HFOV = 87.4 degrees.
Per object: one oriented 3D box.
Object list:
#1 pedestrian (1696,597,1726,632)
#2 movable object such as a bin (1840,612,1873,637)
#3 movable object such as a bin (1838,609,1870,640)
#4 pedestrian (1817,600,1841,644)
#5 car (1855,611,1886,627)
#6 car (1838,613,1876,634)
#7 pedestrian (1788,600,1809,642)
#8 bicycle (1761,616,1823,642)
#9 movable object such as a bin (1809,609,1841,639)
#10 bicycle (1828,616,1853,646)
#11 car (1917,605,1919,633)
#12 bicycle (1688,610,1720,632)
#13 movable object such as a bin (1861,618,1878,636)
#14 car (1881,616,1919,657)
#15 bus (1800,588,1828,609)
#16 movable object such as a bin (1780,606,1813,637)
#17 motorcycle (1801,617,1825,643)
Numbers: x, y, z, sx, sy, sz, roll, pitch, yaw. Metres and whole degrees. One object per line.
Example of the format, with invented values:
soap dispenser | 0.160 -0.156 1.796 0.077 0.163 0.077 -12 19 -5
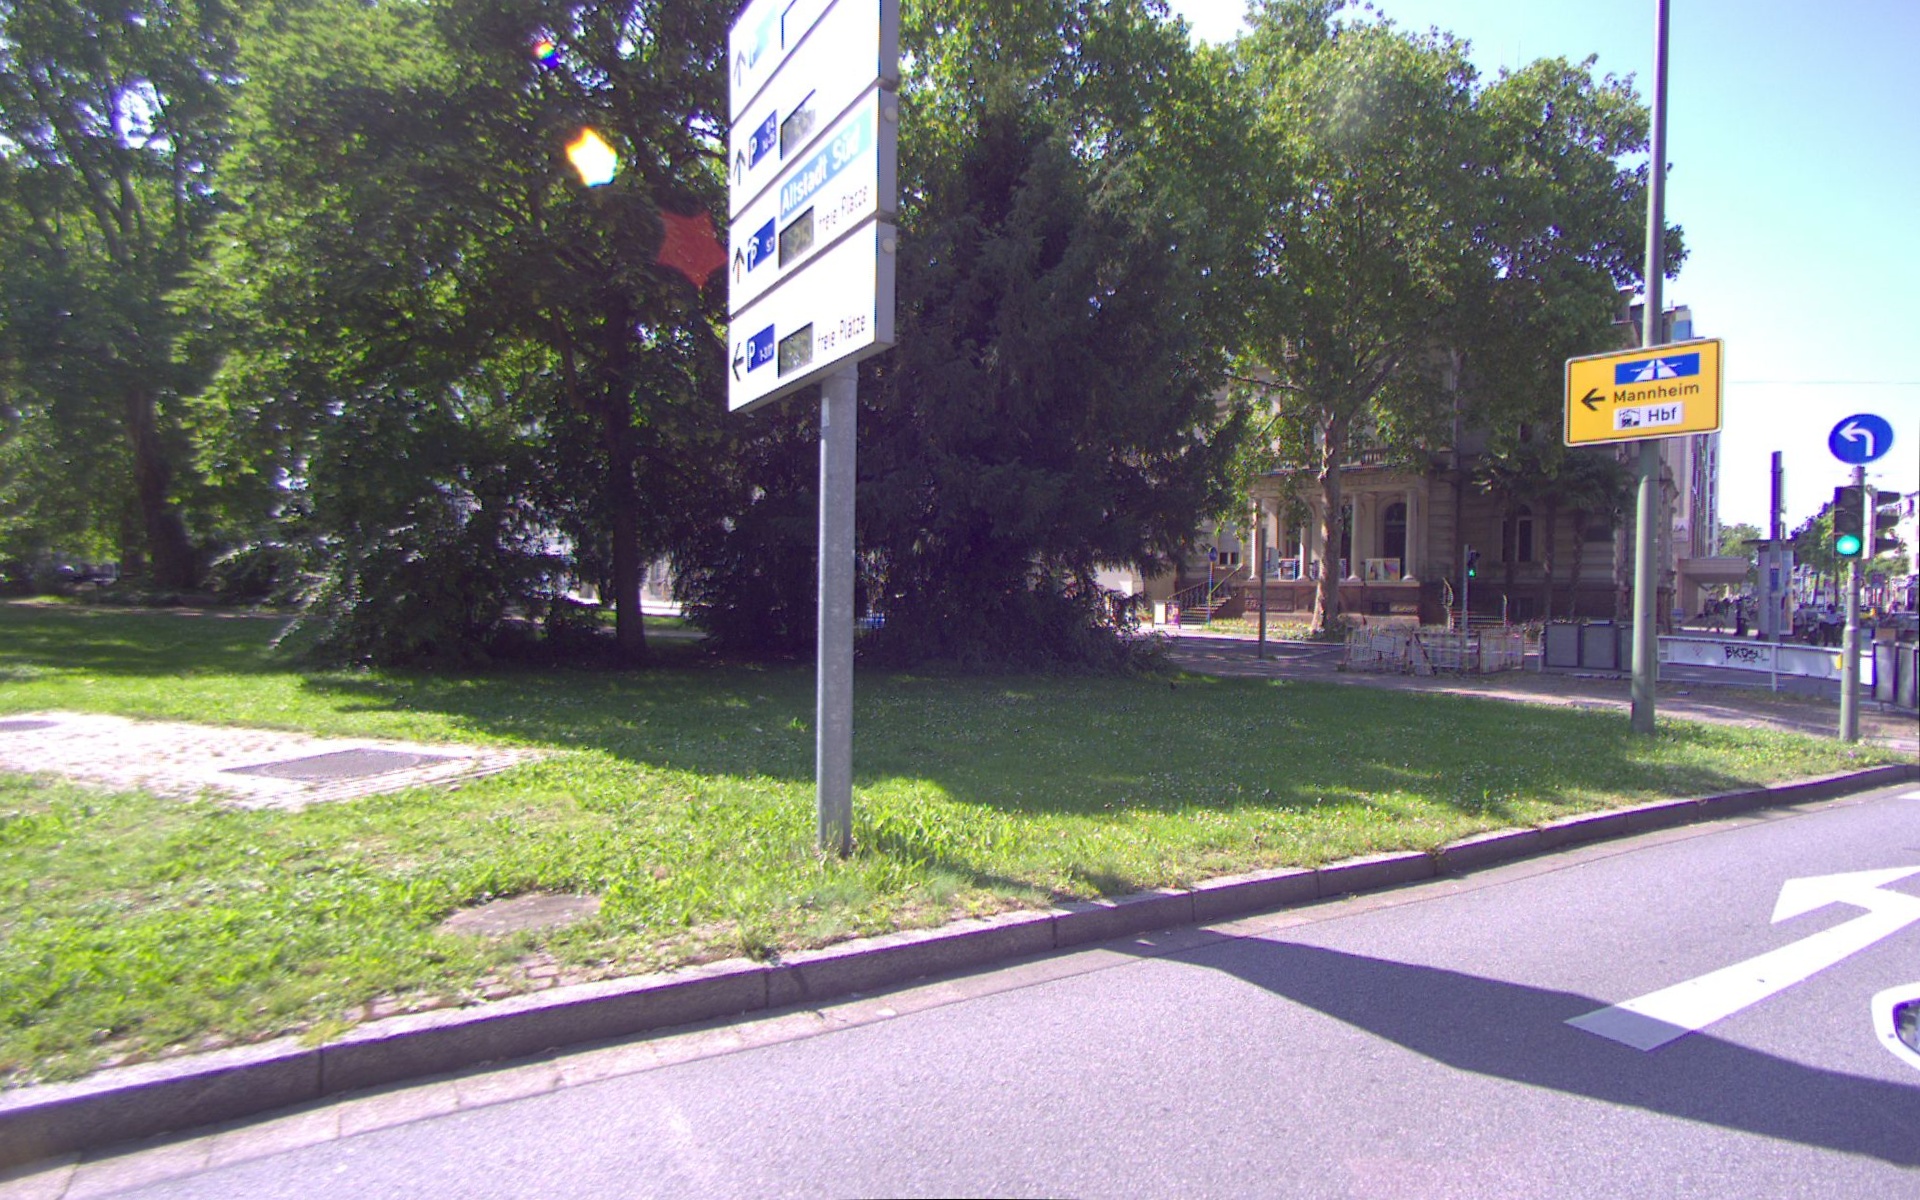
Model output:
pedestrian | 39.654 0.751 53.017 0.981 1.797 0.786 1 0 9
movable object such as a bin | 49.661 1.341 55.653 1.261 1.317 0.850 1 1 38
movable object such as a bin | 45.144 1.215 50.698 1.112 1.470 1.430 3 3 44
pedestrian | 34.262 0.877 39.617 0.686 1.717 0.687 1 -1 40
car | 89.274 1.887 98.499 1.839 1.460 3.984 0 0 37
car | 68.625 1.824 76.907 1.839 1.460 3.985 1 -1 37
pedestrian | 33.920 0.851 40.618 0.930 1.687 0.544 2 -1 -44
bicycle | 40.537 1.402 48.954 2.202 1.135 0.556 3 1 27
movable object such as a bin | 44.342 1.211 51.477 1.112 1.470 1.430 3 3 44
bicycle | 34.698 1.223 39.563 2.226 1.135 0.425 3 1 -42
car | 50.277 0.953 51.063 1.839 1.460 3.985 1 -1 37
bicycle | 39.375 1.109 53.155 0.481 1.076 2.028 1 0 10
movable object such as a bin | 51.103 1.522 56.452 0.544 0.952 0.501 -1 0 12
car | 35.779 1.342 37.376 1.913 1.372 4.230 0 0 39
bus | 150.833 -0.269 177.479 2.733 3.653 8.944 0 1 34
movable object such as a bin | 43.602 1.110 52.371 1.196 1.470 1.355 3 3 44
motorcycle | 34.246 1.212 40.329 2.145 1.011 0.449 1 1 -43
